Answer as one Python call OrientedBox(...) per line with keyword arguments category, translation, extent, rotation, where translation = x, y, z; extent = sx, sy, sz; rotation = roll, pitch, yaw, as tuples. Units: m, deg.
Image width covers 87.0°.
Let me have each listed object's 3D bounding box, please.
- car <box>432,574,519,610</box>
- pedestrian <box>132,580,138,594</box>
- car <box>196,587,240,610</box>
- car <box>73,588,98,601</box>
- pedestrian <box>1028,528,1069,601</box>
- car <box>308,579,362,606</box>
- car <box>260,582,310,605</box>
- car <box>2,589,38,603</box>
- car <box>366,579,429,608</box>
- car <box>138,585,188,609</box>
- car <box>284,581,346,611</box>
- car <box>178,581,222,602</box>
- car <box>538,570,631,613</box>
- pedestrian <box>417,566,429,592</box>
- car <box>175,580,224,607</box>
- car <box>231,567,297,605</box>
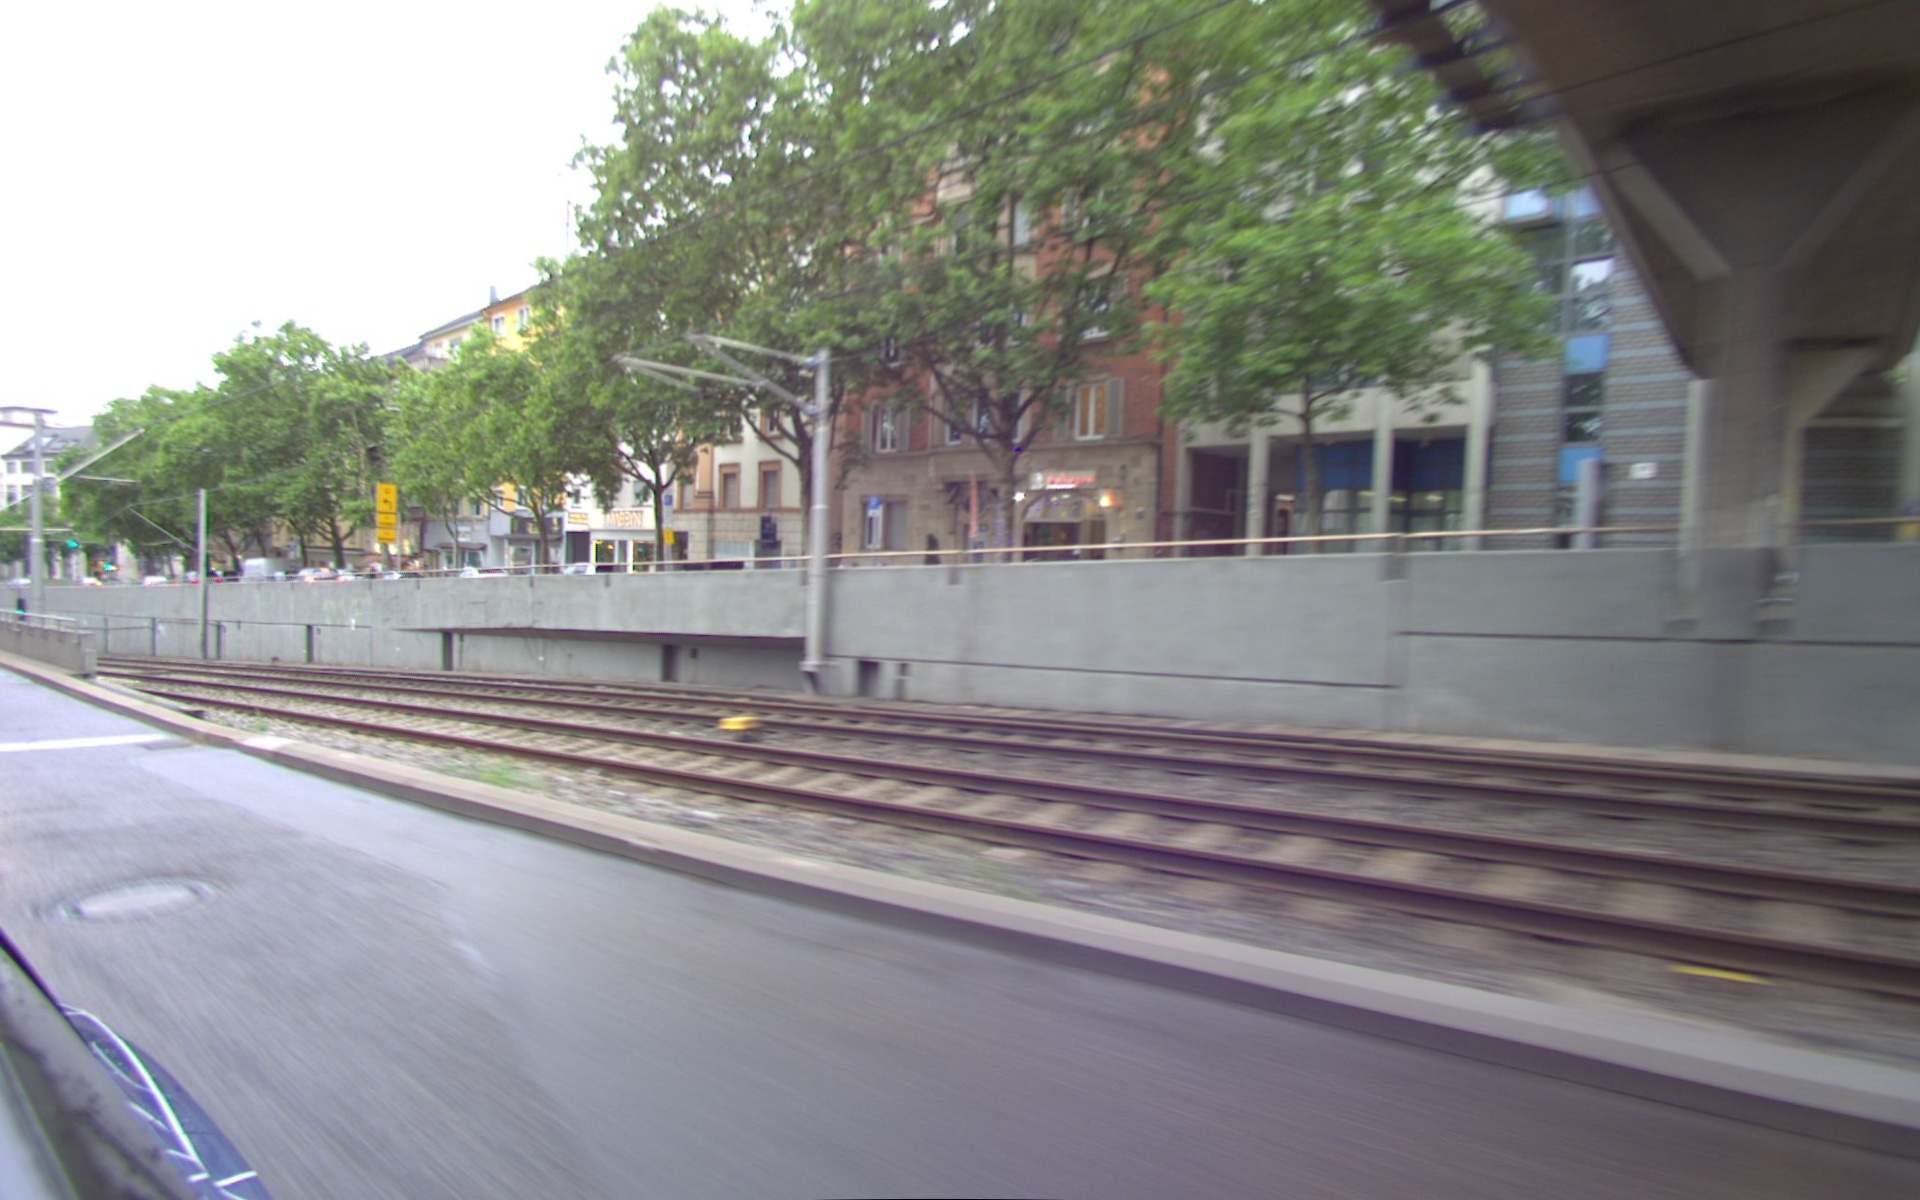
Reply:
OrientedBox(category="car", translation=(-23.662, -0.386, 49.355), extent=(5.197, 1.613, 1.907), rotation=(0, 3, 41))
OrientedBox(category="pedestrian", translation=(-109.369, -1.785, 134.157), extent=(0.582, 1.822, 0.675), rotation=(-3, 4, -44))
OrientedBox(category="car", translation=(-61.261, -0.167, 83.488), extent=(4.899, 1.777, 1.857), rotation=(0, 3, 41))
OrientedBox(category="car", translation=(-104.335, -0.671, 120.714), extent=(4.018, 1.521, 1.826), rotation=(0, 3, 44))
OrientedBox(category="pedestrian", translation=(2.530, -1.019, 28.865), extent=(0.935, 2.028, 0.662), rotation=(2, 4, 43))
OrientedBox(category="car", translation=(-39.361, -0.469, 63.682), extent=(4.207, 1.582, 1.775), rotation=(0, 3, 42))
OrientedBox(category="car", translation=(-47.675, -0.489, 71.445), extent=(4.670, 1.521, 1.775), rotation=(0, 3, 42))
OrientedBox(category="car", translation=(-107.728, -0.499, 115.957), extent=(4.871, 1.521, 2.009), rotation=(0, 2, 35))
OrientedBox(category="car", translation=(-31.433, -0.385, 56.508), extent=(4.207, 1.521, 1.775), rotation=(0, 3, 42))
OrientedBox(category="car", translation=(-53.443, -0.214, 67.825), extent=(3.996, 1.521, 1.777), rotation=(0, 3, 40))
OrientedBox(category="car", translation=(-35.527, -0.227, 55.708), extent=(4.107, 1.521, 1.776), rotation=(0, 3, 42))
OrientedBox(category="car", translation=(-67.736, -0.719, 90.143), extent=(4.893, 1.777, 1.859), rotation=(0, 2, 38))
OrientedBox(category="car", translation=(-15.502, -0.363, 41.700), extent=(4.110, 1.623, 1.776), rotation=(0, 3, 41))
OrientedBox(category="pedestrian", translation=(-37.530, -1.477, 70.728), extent=(0.517, 1.760, 0.622), rotation=(-6, 5, -41))
OrientedBox(category="car", translation=(-56.000, -0.504, 74.515), extent=(4.967, 1.866, 1.935), rotation=(0, 3, 42))
OrientedBox(category="car", translation=(-52.293, -1.067, 75.971), extent=(6.929, 2.682, 2.427), rotation=(0, 3, 42))
